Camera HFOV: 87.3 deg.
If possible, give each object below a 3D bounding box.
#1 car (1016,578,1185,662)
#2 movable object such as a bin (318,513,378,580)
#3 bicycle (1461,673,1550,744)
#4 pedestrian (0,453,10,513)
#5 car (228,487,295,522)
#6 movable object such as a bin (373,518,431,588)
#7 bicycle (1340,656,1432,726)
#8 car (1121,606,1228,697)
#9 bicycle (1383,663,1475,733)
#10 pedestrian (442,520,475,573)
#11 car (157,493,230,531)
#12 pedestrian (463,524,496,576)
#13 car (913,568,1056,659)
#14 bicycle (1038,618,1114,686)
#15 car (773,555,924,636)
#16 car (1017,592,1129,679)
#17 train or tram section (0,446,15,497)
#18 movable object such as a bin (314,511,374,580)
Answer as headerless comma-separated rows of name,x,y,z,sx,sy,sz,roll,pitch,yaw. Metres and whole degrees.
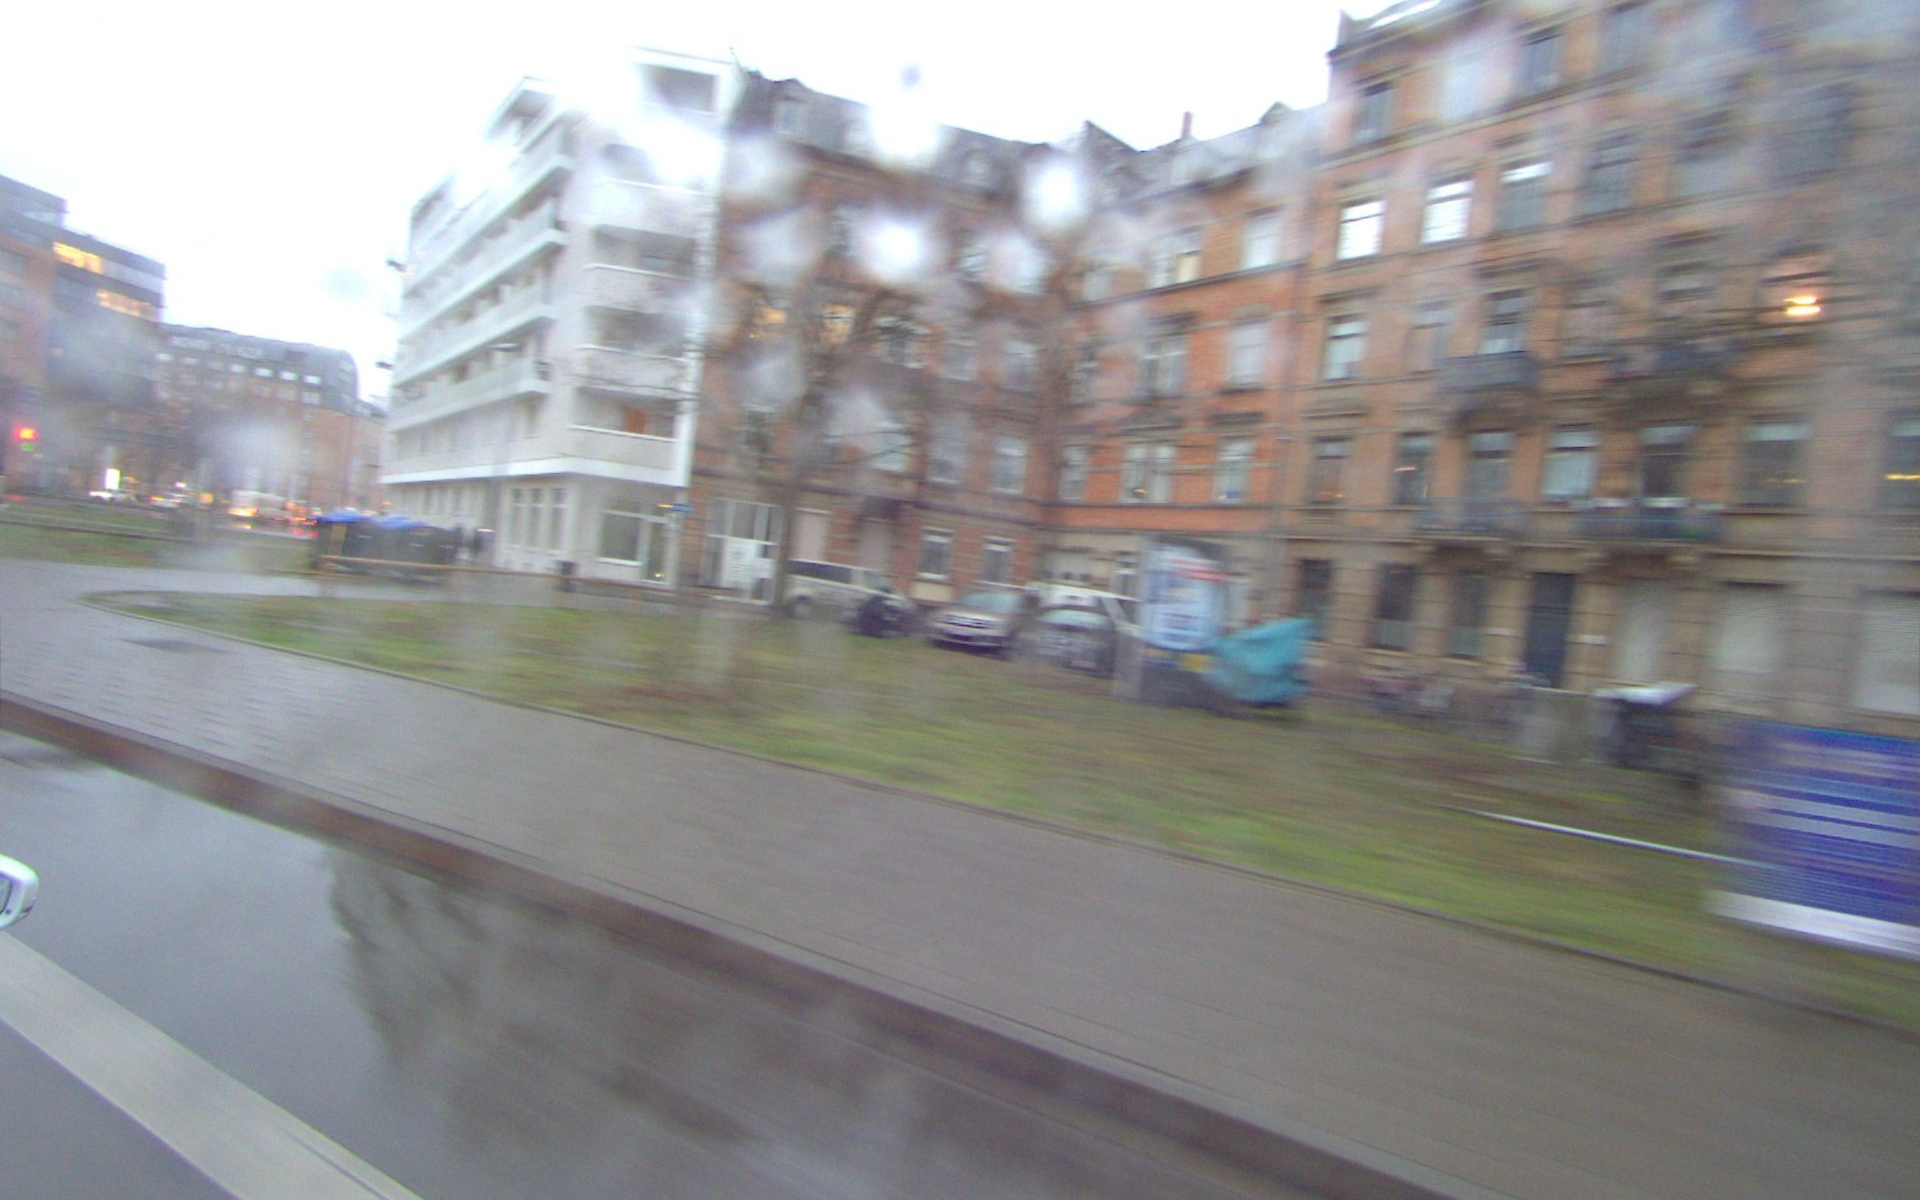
car,4.315,0.582,31.501,1.987,2.039,4.925,5,1,-44
movable object such as a bin,-14.401,-1.266,23.660,1.008,1.434,1.211,5,2,-36
bicycle,8.699,1.724,15.995,0.617,0.978,2.159,8,1,43
pedestrian,-31.931,-3.911,32.741,0.885,1.946,1.170,7,-2,39
car,-59.024,-8.053,85.156,1.964,2.036,4.953,8,-2,0
movable object such as a bin,-13.524,-1.129,24.424,1.026,1.507,1.034,9,-2,-27
bicycle,7.297,1.573,17.168,0.617,0.977,2.160,11,1,43
car,4.184,0.956,19.273,1.666,1.353,3.860,7,0,15
bicycle,7.865,1.660,16.815,0.617,0.977,2.160,11,1,43
pedestrian,-17.565,-1.870,35.224,0.674,1.733,0.598,9,-2,-44
car,-58.181,-6.660,76.418,1.962,2.036,4.005,8,-2,7
pedestrian,-17.073,-1.770,35.759,0.674,1.733,0.621,9,-2,-44
car,0.652,0.330,22.505,1.908,1.657,3.998,6,1,19
bicycle,1.925,0.856,16.951,0.507,0.948,1.644,6,1,-19
car,-3.773,-0.118,33.777,4.674,1.940,1.996,9,-2,-13
car,2.385,0.751,20.457,1.645,1.370,3.748,8,-1,14
train or tram section,-66.223,-8.929,62.481,2.293,3.300,13.000,7,0,2
movable object such as a bin,-15.190,-1.346,24.791,1.022,1.513,1.316,7,1,-36
